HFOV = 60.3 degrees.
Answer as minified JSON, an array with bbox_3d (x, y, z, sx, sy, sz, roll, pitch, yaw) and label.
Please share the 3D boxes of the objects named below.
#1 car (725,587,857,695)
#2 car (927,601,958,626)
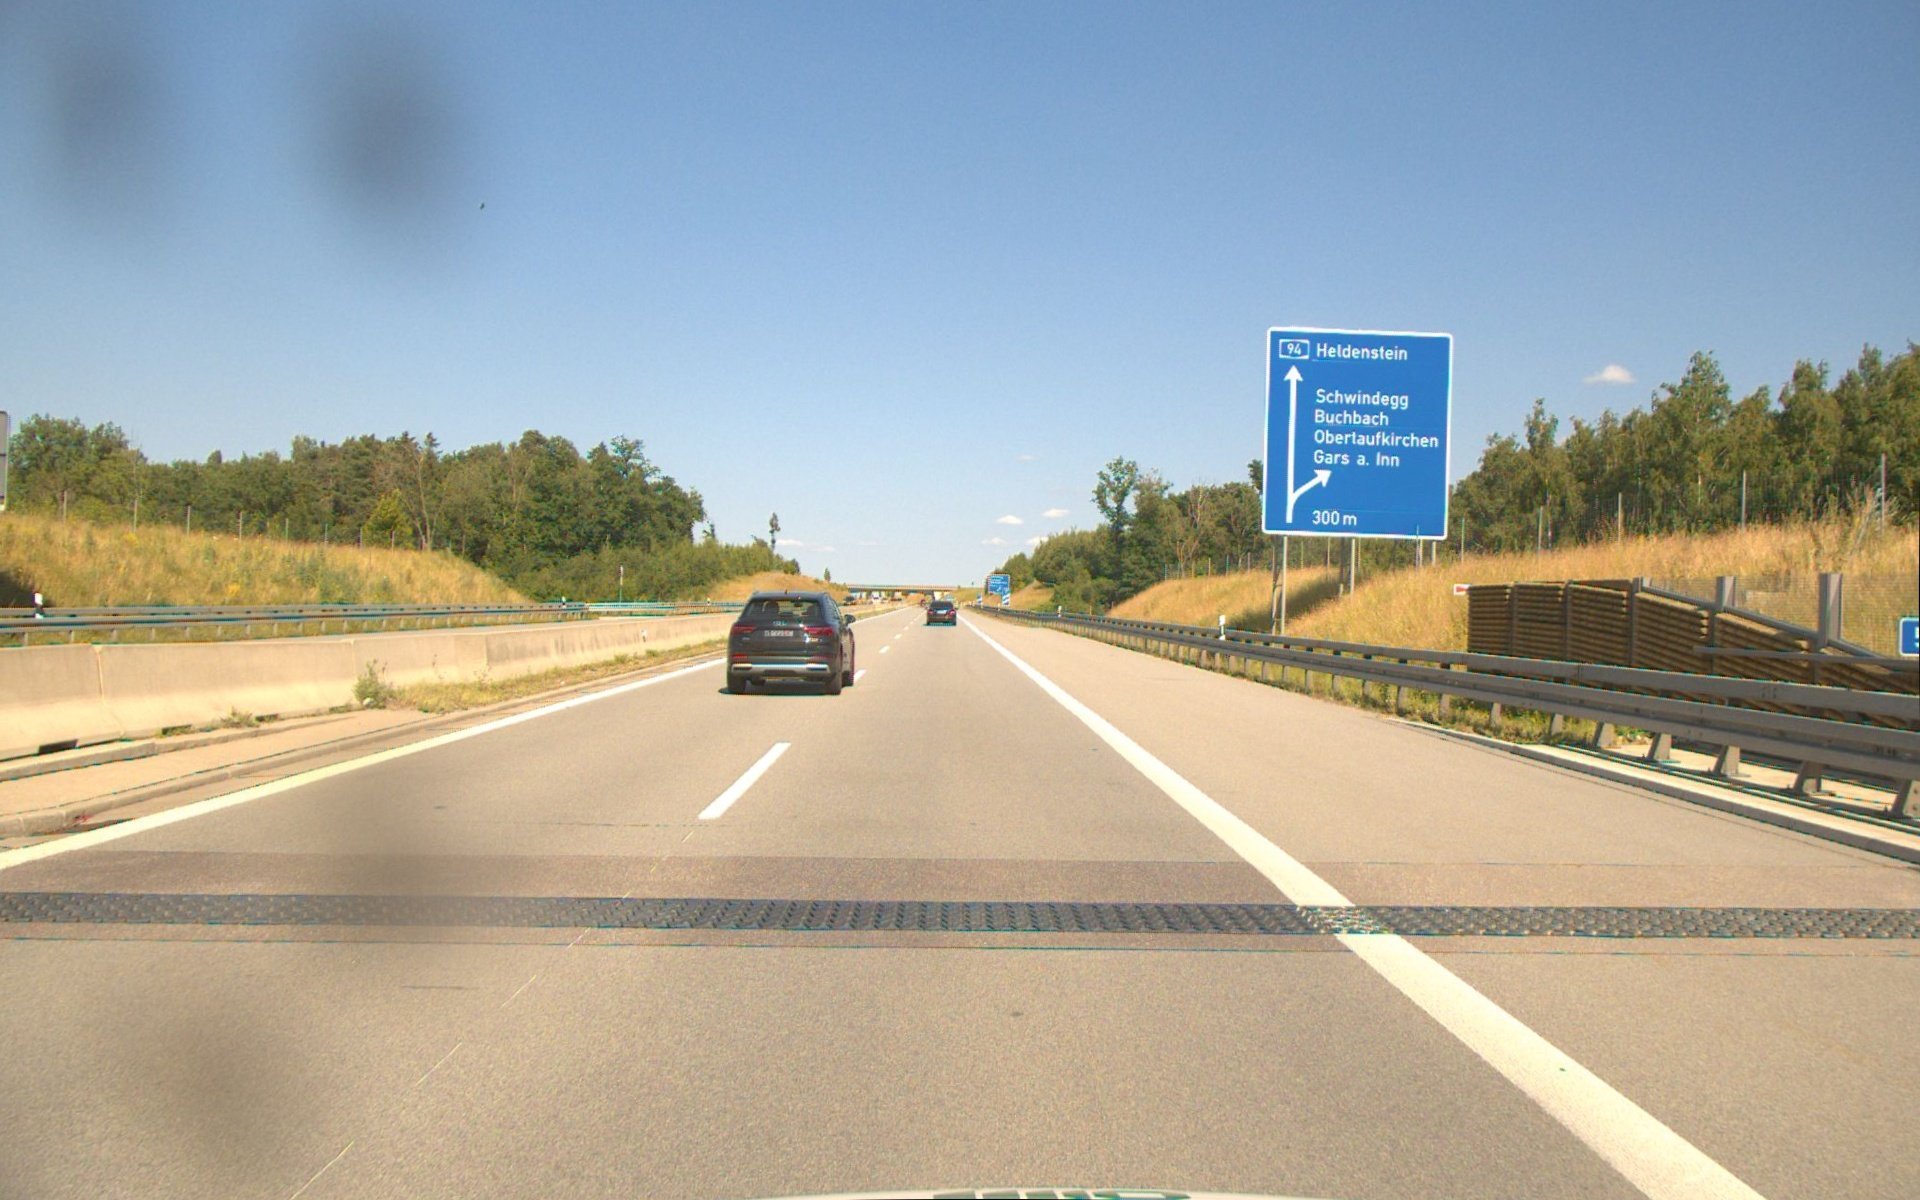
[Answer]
[{"bbox_3d":[-2.728,0.614,27.689,1.687,1.615,5.221,1,0,0],"label":"car"},{"bbox_3d":[-1.029,0.772,95.837,1.753,1.398,3.916,1,0,-1],"label":"car"}]
